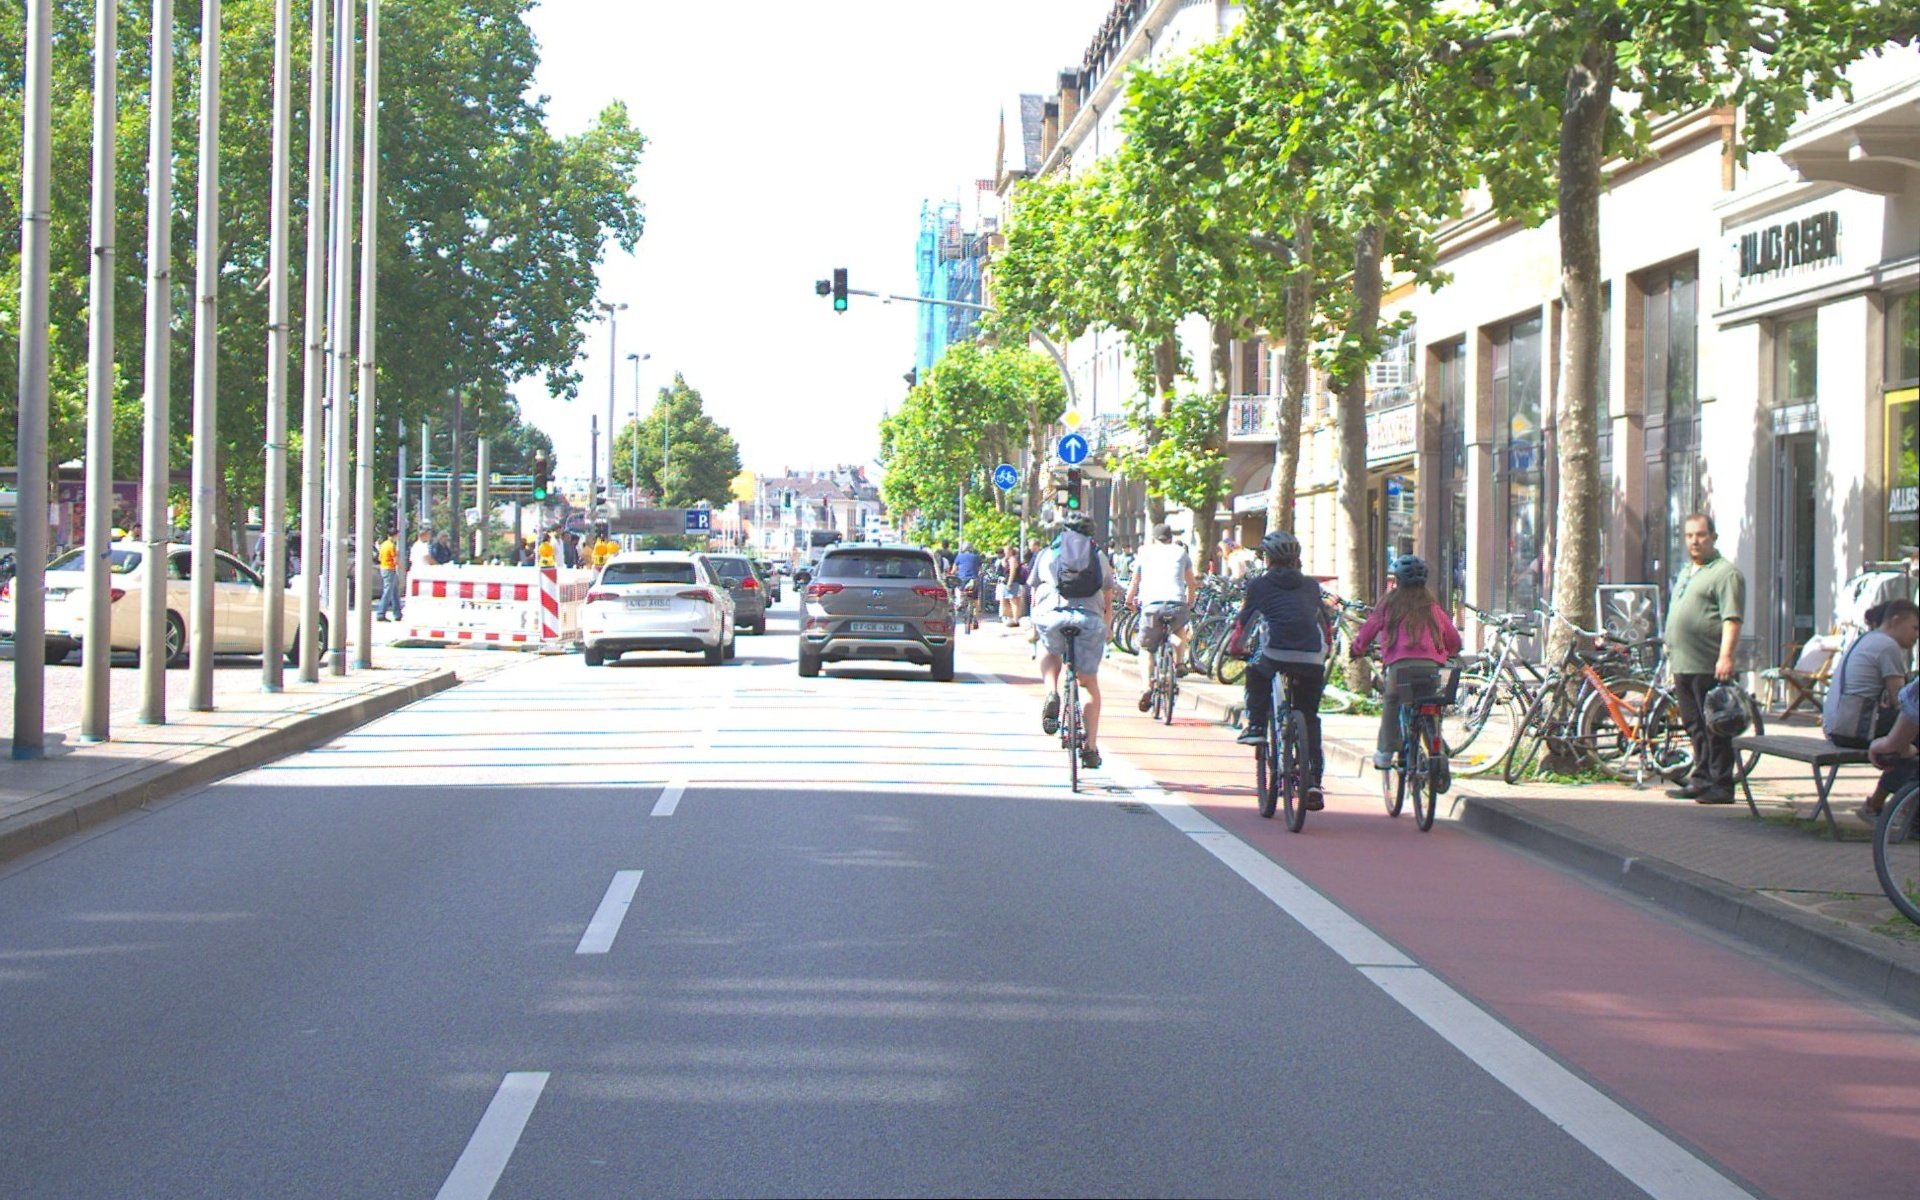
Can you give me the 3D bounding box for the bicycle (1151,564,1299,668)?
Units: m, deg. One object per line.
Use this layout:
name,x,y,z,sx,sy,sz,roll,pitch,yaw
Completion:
bicycle,3.200,0.191,41.573,1.728,1.213,0.477,1,1,0

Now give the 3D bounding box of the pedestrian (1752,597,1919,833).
pedestrian,4.789,0.618,18.638,0.787,1.239,0.576,2,0,-5

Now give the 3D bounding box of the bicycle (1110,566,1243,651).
bicycle,3.089,0.116,49.152,1.844,1.160,0.659,1,1,0

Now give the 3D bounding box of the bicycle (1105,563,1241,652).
bicycle,2.998,0.098,48.517,1.844,1.197,0.608,1,1,0

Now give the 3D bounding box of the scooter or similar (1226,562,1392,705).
scooter or similar,3.296,0.307,32.404,1.475,1.270,0.670,3,0,9

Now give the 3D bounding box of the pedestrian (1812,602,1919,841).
pedestrian,4.925,0.634,18.138,0.639,1.228,0.597,2,0,-5

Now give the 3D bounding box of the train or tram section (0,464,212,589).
train or tram section,-29.126,-2.225,103.436,2.618,3.664,15.518,2,1,33

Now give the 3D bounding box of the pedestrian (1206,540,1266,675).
pedestrian,3.350,0.084,41.784,0.615,1.607,0.745,1,1,-1

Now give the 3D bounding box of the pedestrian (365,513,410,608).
pedestrian,-10.500,-0.722,63.047,0.539,1.712,0.606,2,0,-33

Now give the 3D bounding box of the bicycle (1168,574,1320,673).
bicycle,3.337,0.274,40.492,1.728,1.105,0.477,1,1,0

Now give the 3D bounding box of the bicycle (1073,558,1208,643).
bicycle,2.781,0.007,52.926,1.932,1.253,0.705,1,1,-22

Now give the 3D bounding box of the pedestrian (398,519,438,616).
pedestrian,-10.078,-0.609,63.943,0.539,1.773,0.606,2,0,4

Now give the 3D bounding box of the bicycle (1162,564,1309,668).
bicycle,3.364,0.193,42.070,1.728,1.213,0.477,1,1,0

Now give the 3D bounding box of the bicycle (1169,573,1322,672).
bicycle,3.320,0.263,40.071,1.728,1.105,0.402,1,1,0

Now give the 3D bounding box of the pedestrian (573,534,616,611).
pedestrian,-7.608,-0.565,71.511,0.633,1.590,0.686,1,0,19

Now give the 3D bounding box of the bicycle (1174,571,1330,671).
bicycle,3.364,0.241,39.658,1.728,1.105,0.402,1,1,0

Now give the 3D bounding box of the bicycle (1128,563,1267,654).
bicycle,3.256,0.118,47.214,1.844,1.197,0.474,1,1,0

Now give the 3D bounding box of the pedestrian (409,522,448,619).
pedestrian,-9.722,-0.541,62.845,0.429,1.734,0.606,2,0,-33

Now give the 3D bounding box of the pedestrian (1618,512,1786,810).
pedestrian,4.382,0.345,20.347,0.639,1.683,0.843,4,1,-5

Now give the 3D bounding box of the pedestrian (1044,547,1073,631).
pedestrian,1.906,-0.208,66.711,0.549,1.625,0.589,0,0,1

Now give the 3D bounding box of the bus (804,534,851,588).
bus,-9.255,-2.681,238.913,2.994,3.582,11.746,1,0,-3

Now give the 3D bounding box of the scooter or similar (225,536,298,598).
scooter or similar,-16.162,-0.762,79.547,1.278,1.416,1.037,1,0,28

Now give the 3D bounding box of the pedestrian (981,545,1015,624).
pedestrian,0.859,-0.343,77.368,0.610,1.733,0.678,-3,0,-4

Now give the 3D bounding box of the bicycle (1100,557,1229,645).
bicycle,3.115,0.016,52.339,1.820,1.304,0.689,1,1,-22

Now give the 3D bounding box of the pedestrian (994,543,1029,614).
pedestrian,1.115,-0.463,74.334,0.610,1.510,0.678,-3,0,-4

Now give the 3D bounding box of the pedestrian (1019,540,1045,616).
pedestrian,1.449,-0.447,69.068,0.522,1.516,0.641,0,0,1

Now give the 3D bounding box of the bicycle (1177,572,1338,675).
bicycle,3.349,0.262,38.805,1.728,1.105,0.736,1,1,0

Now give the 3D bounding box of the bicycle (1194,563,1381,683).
bicycle,3.549,0.241,37.329,1.931,1.244,0.736,1,1,0

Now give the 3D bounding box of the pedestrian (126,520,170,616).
pedestrian,-14.992,-0.584,63.499,0.584,1.716,0.789,1,-4,-1

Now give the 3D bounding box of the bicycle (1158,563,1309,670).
bicycle,3.239,0.192,40.849,1.728,1.213,0.477,1,1,0

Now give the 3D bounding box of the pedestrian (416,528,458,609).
pedestrian,-11.736,-0.698,77.180,0.633,1.804,0.730,1,0,19
